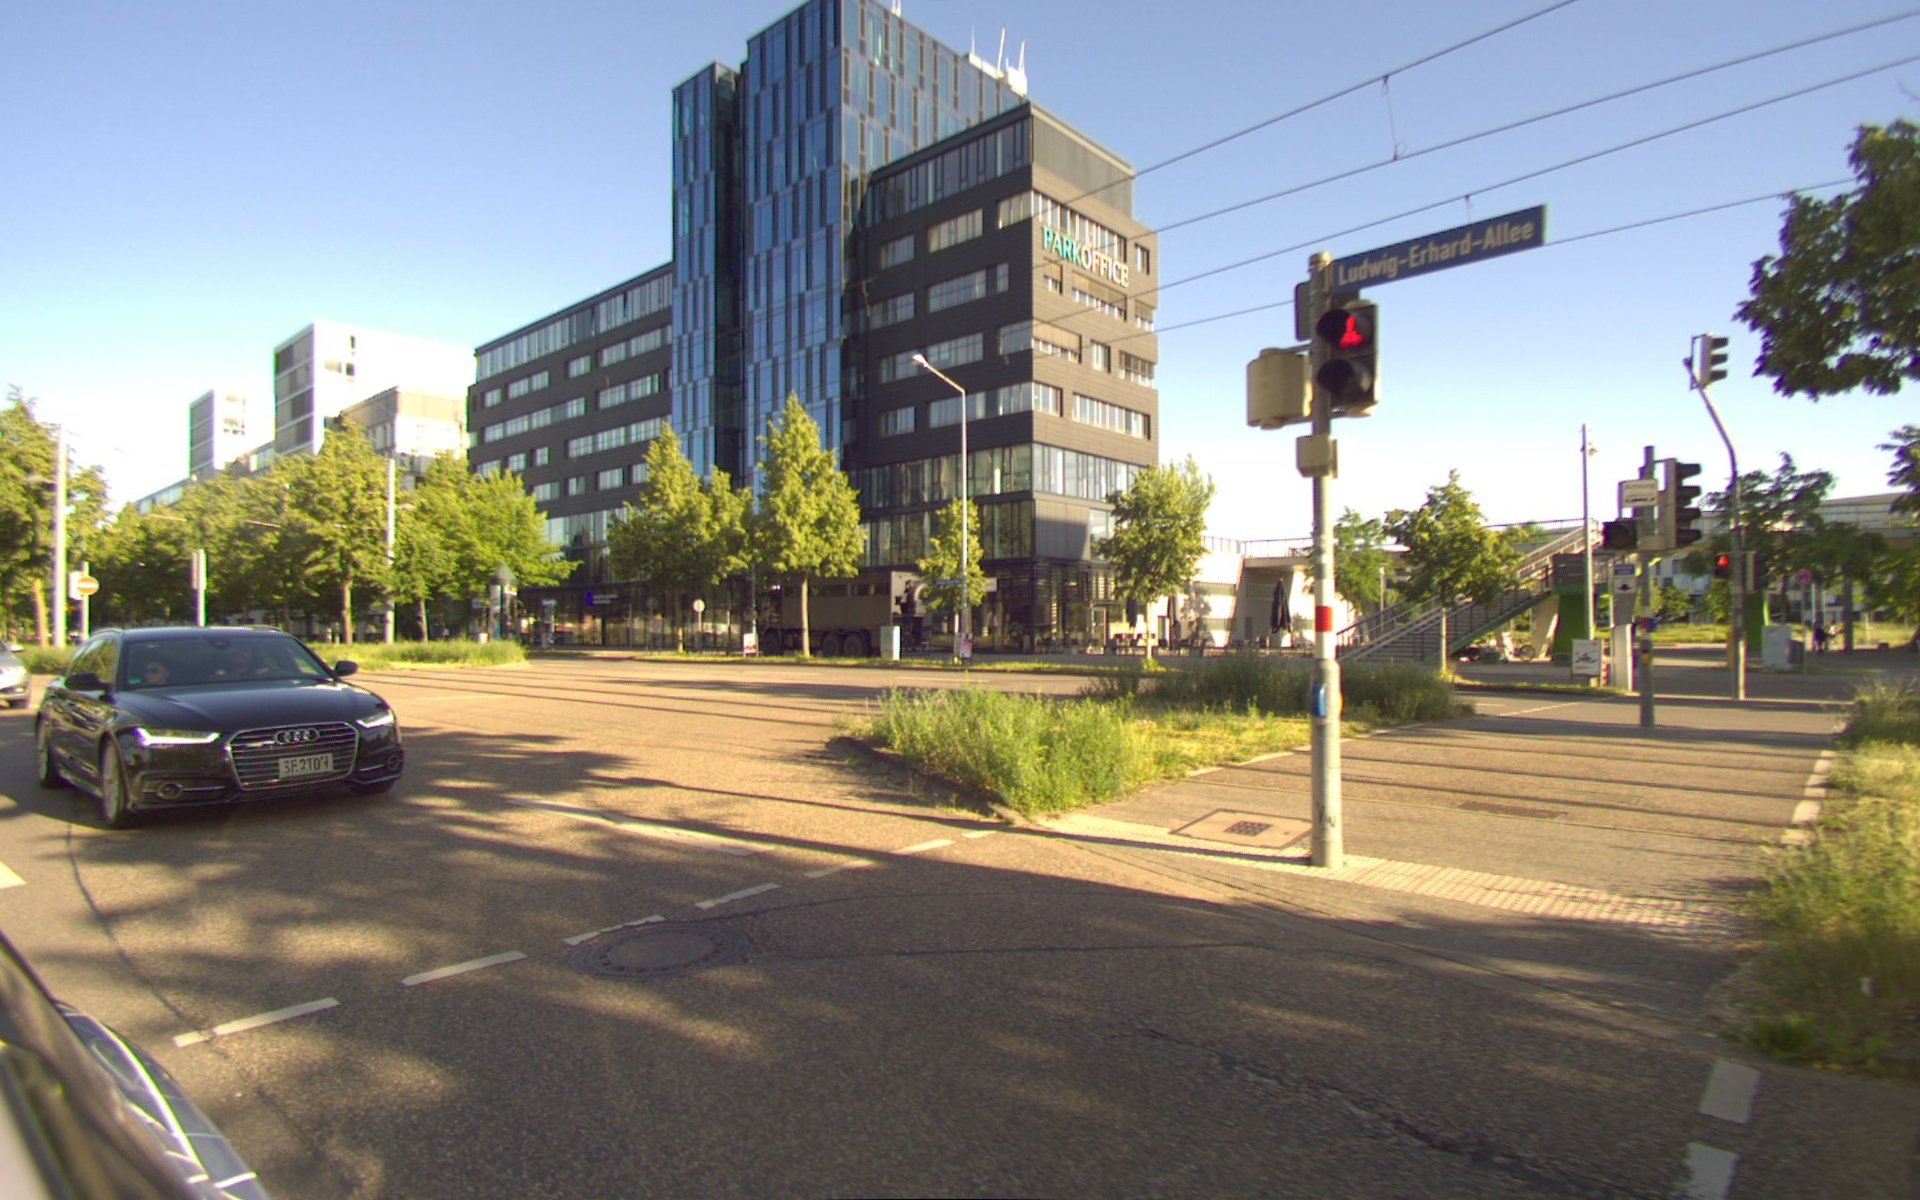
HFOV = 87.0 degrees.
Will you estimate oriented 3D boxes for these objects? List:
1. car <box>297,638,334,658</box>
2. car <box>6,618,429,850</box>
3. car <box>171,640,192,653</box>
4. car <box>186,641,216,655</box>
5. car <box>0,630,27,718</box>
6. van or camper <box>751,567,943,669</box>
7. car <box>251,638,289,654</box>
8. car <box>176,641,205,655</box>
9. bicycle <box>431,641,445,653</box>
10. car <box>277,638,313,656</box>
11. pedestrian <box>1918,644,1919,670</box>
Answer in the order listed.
[{"bbox_3d":[-58.737,4.379,92.177,3.999,1.762,1.834,-2,-2,42],"label":"car"},{"bbox_3d":[-6.462,0.939,8.611,4.502,1.468,1.790,-2,-2,38],"label":"car"},{"bbox_3d":[-101.803,6.111,132.294,3.742,1.682,1.580,-2,-2,42],"label":"car"},{"bbox_3d":[-93.872,5.927,125.212,4.789,1.712,1.986,-2,-2,41],"label":"car"},{"bbox_3d":[-18.500,1.325,18.373,4.740,1.500,1.789,-2,-2,41],"label":"car"},{"bbox_3d":[-5.423,0.902,46.483,10.227,4.224,2.724,-2,-2,42],"label":"van or camper"},{"bbox_3d":[-72.938,4.856,106.914,4.786,1.712,1.987,-2,-2,38],"label":"car"},{"bbox_3d":[-98.196,6.066,129.083,4.789,1.712,1.986,-2,-2,41],"label":"car"},{"bbox_3d":[-46.934,4.191,91.010,1.847,1.041,0.521,-2,-1,42],"label":"bicycle"},{"bbox_3d":[-65.629,4.645,99.895,4.791,1.697,1.834,-2,-2,42],"label":"car"},{"bbox_3d":[42.509,2.514,44.470,0.600,1.134,0.434,-2,-1,44],"label":"pedestrian"}]
